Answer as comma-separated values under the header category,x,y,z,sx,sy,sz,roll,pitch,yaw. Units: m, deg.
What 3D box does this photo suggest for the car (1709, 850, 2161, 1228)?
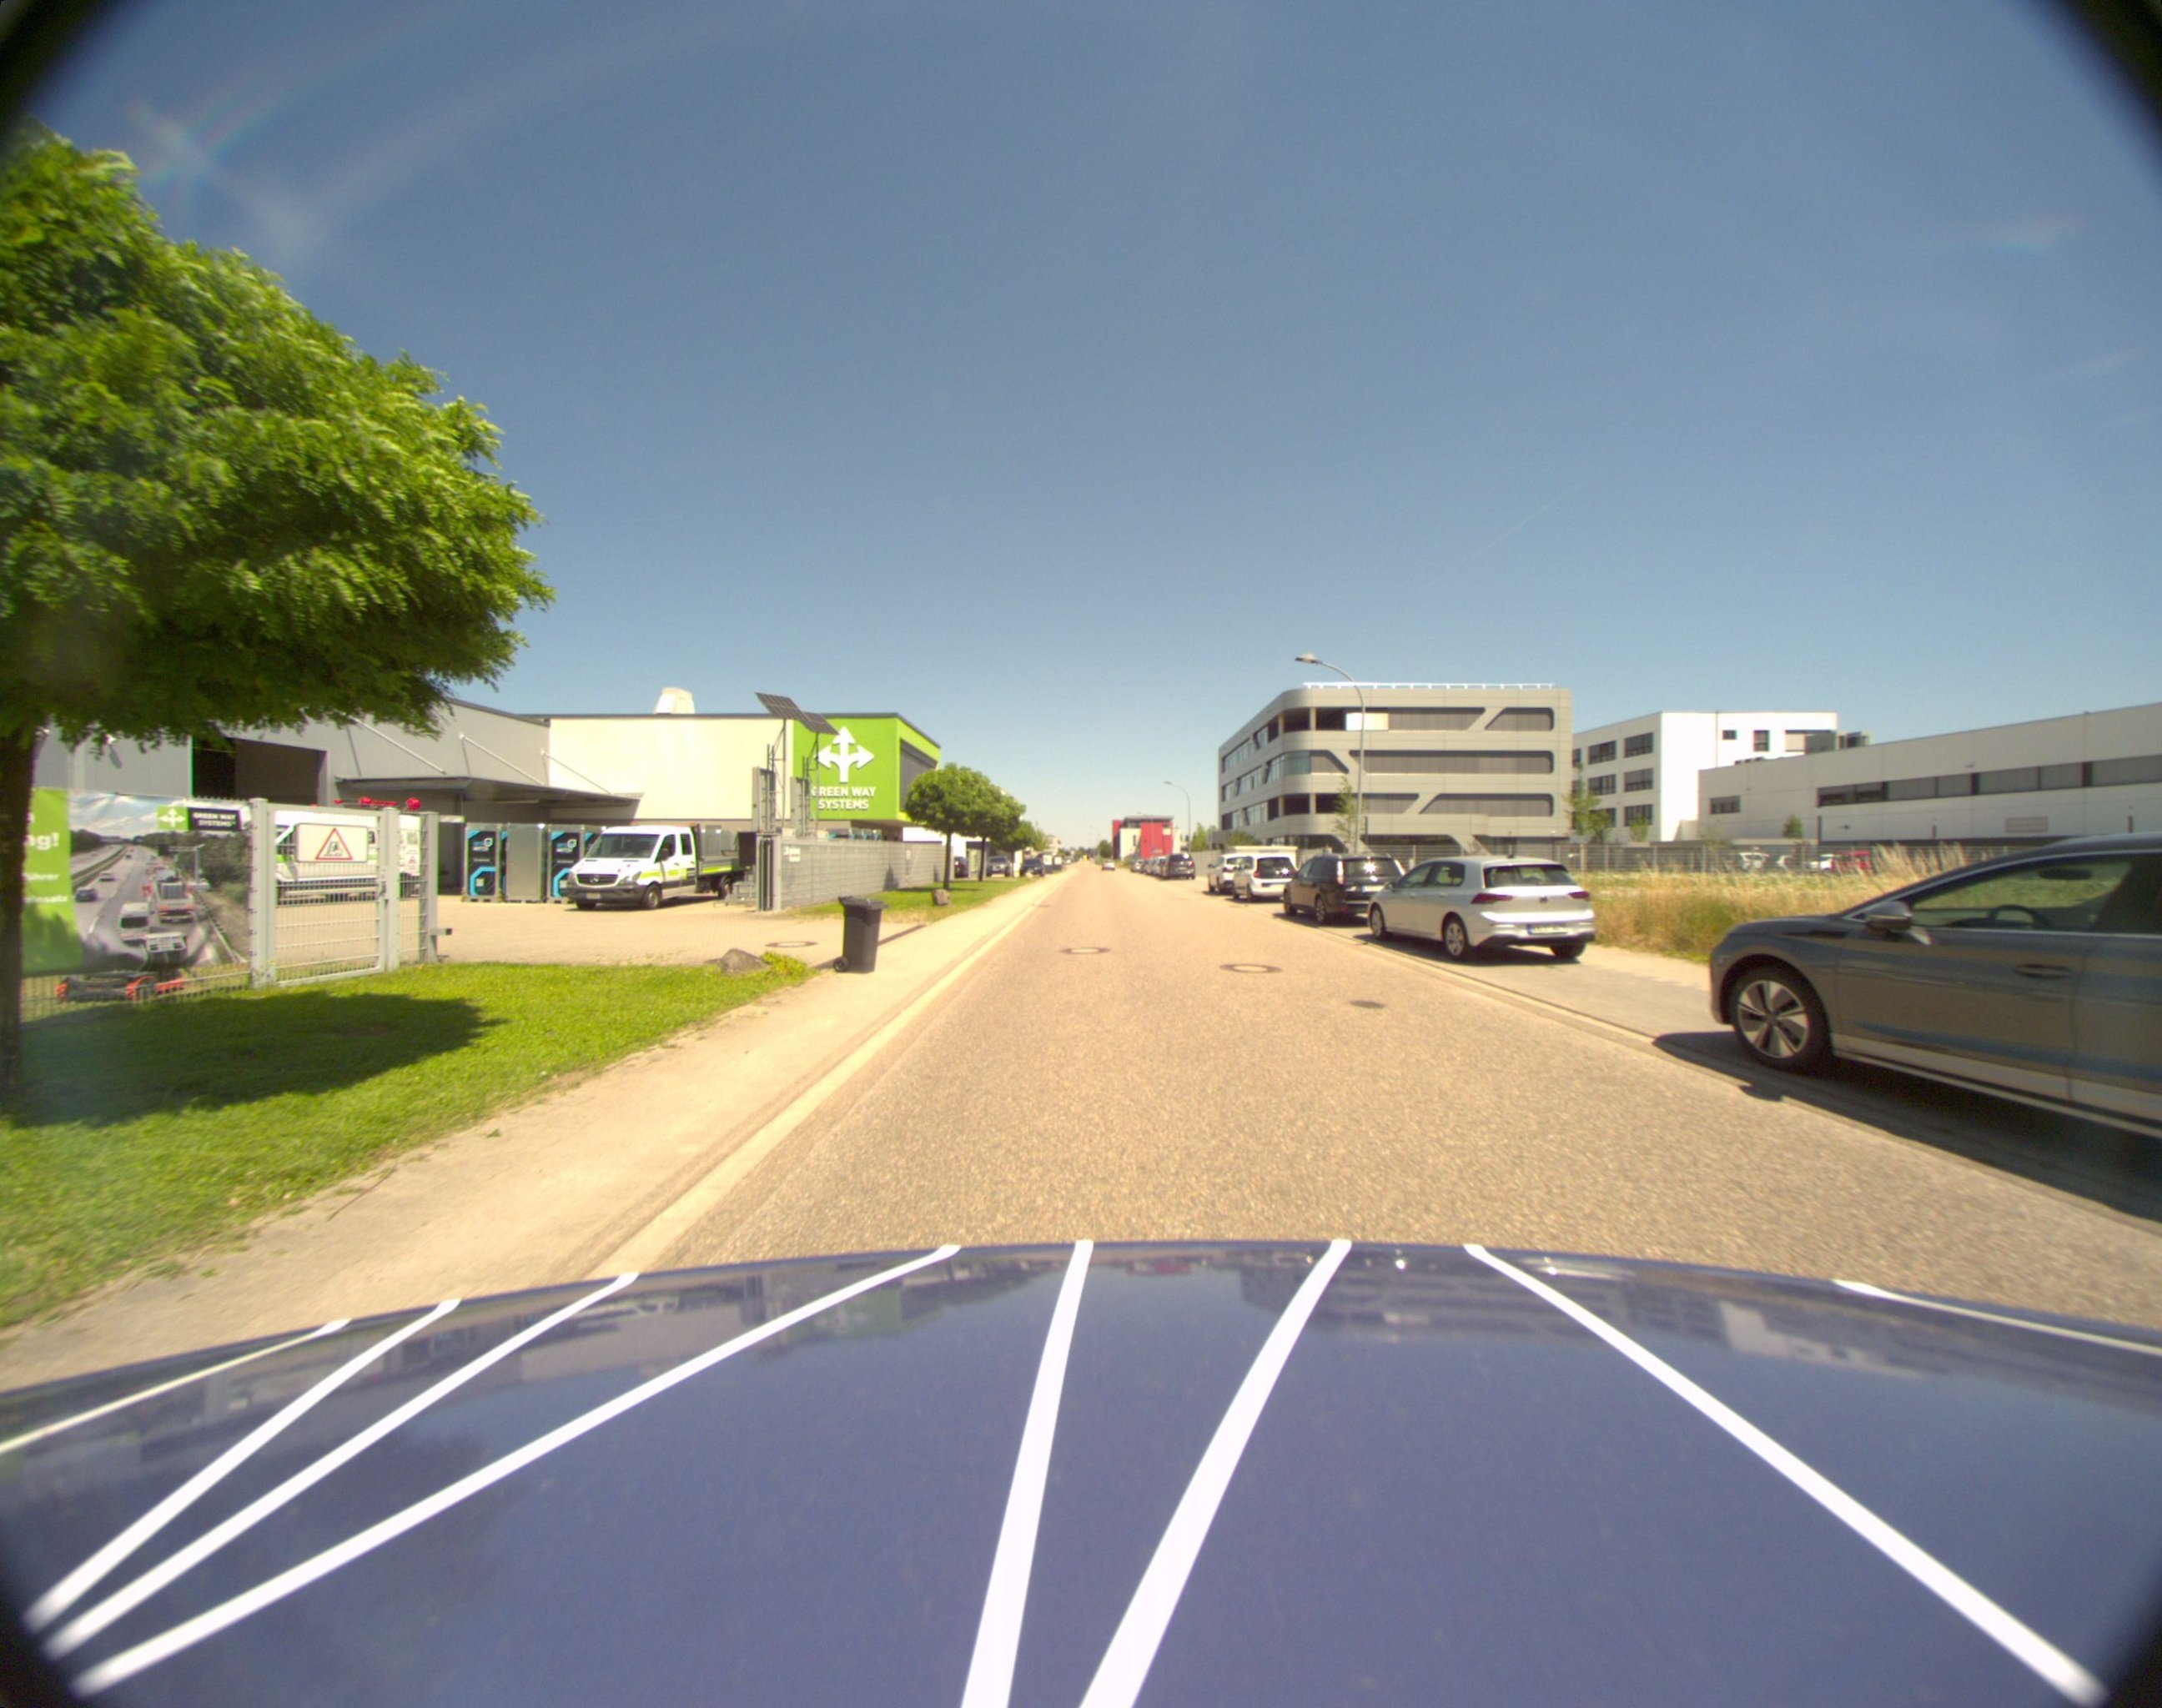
category,x,y,z,sx,sy,sz,roll,pitch,yaw
car,5.559,0.801,3.408,1.795,1.597,4.462,-1,0,0

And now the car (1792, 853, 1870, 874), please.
category,x,y,z,sx,sy,sz,roll,pitch,yaw
car,57.105,0.738,57.900,3.997,1.576,1.922,0,0,1

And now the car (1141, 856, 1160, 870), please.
category,x,y,z,sx,sy,sz,roll,pitch,yaw
car,7.023,0.922,77.244,1.688,1.378,4.640,-1,-1,2

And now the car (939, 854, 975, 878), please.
category,x,y,z,sx,sy,sz,roll,pitch,yaw
car,-8.355,0.784,51.441,1.742,1.390,4.054,0,2,1

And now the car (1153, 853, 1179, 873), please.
category,x,y,z,sx,sy,sz,roll,pitch,yaw
car,6.711,0.709,60.170,1.639,1.527,3.658,-1,0,0

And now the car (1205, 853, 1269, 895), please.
category,x,y,z,sx,sy,sz,roll,pitch,yaw
car,6.041,0.723,29.806,1.791,1.533,4.365,-1,0,3

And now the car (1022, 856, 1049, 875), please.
category,x,y,z,sx,sy,sz,roll,pitch,yaw
car,-3.443,0.865,58.437,1.696,1.419,4.246,-1,0,1

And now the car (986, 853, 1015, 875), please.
category,x,y,z,sx,sy,sz,roll,pitch,yaw
car,-6.153,0.752,58.632,1.727,1.623,4.022,-1,0,1

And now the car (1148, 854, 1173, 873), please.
category,x,y,z,sx,sy,sz,roll,pitch,yaw
car,6.867,0.781,65.808,1.707,1.527,4.572,-1,0,0

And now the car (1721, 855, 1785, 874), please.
category,x,y,z,sx,sy,sz,roll,pitch,yaw
car,57.771,0.874,65.316,3.999,1.576,1.921,0,0,-6

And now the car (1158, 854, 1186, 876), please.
category,x,y,z,sx,sy,sz,roll,pitch,yaw
car,6.581,0.752,55.250,1.638,1.491,3.972,-1,0,2

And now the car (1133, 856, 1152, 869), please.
category,x,y,z,sx,sy,sz,roll,pitch,yaw
car,6.981,0.984,86.011,1.704,1.378,3.937,-1,-1,-2

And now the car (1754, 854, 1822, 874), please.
category,x,y,z,sx,sy,sz,roll,pitch,yaw
car,58.398,0.825,62.775,3.999,1.576,1.921,0,0,-6

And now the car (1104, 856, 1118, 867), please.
category,x,y,z,sx,sy,sz,roll,pitch,yaw
car,4.150,1.073,104.990,1.708,1.403,4.784,2,0,1

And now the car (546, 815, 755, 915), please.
category,x,y,z,sx,sy,sz,roll,pitch,yaw
car,-12.433,0.271,22.808,2.135,2.479,7.025,2,0,1

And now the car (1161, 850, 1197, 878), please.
category,x,y,z,sx,sy,sz,roll,pitch,yaw
car,6.400,0.619,49.931,1.807,1.709,4.622,-1,0,1

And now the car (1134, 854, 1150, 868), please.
category,x,y,z,sx,sy,sz,roll,pitch,yaw
car,7.327,0.802,92.181,1.774,1.641,4.852,-1,-1,3

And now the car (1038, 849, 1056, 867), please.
category,x,y,z,sx,sy,sz,roll,pitch,yaw
car,-4.213,0.521,94.429,1.999,2.001,5.801,0,-2,-1

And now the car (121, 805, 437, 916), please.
category,x,y,z,sx,sy,sz,roll,pitch,yaw
car,-20.883,0.139,20.353,2.135,2.479,5.860,2,0,1

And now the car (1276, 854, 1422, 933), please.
category,x,y,z,sx,sy,sz,roll,pitch,yaw
car,5.862,0.783,17.223,1.767,1.508,4.380,-1,0,1

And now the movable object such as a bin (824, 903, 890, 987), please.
category,x,y,z,sx,sy,sz,roll,pitch,yaw
movable object such as a bin,-2.740,1.103,9.320,0.553,0.923,0.522,4,1,11

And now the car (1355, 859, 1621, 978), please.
category,x,y,z,sx,sy,sz,roll,pitch,yaw
car,5.967,0.833,11.817,1.768,1.442,4.199,-1,0,-2

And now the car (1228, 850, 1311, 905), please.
category,x,y,z,sx,sy,sz,roll,pitch,yaw
car,6.063,0.707,24.856,1.791,1.647,3.768,-1,0,0
